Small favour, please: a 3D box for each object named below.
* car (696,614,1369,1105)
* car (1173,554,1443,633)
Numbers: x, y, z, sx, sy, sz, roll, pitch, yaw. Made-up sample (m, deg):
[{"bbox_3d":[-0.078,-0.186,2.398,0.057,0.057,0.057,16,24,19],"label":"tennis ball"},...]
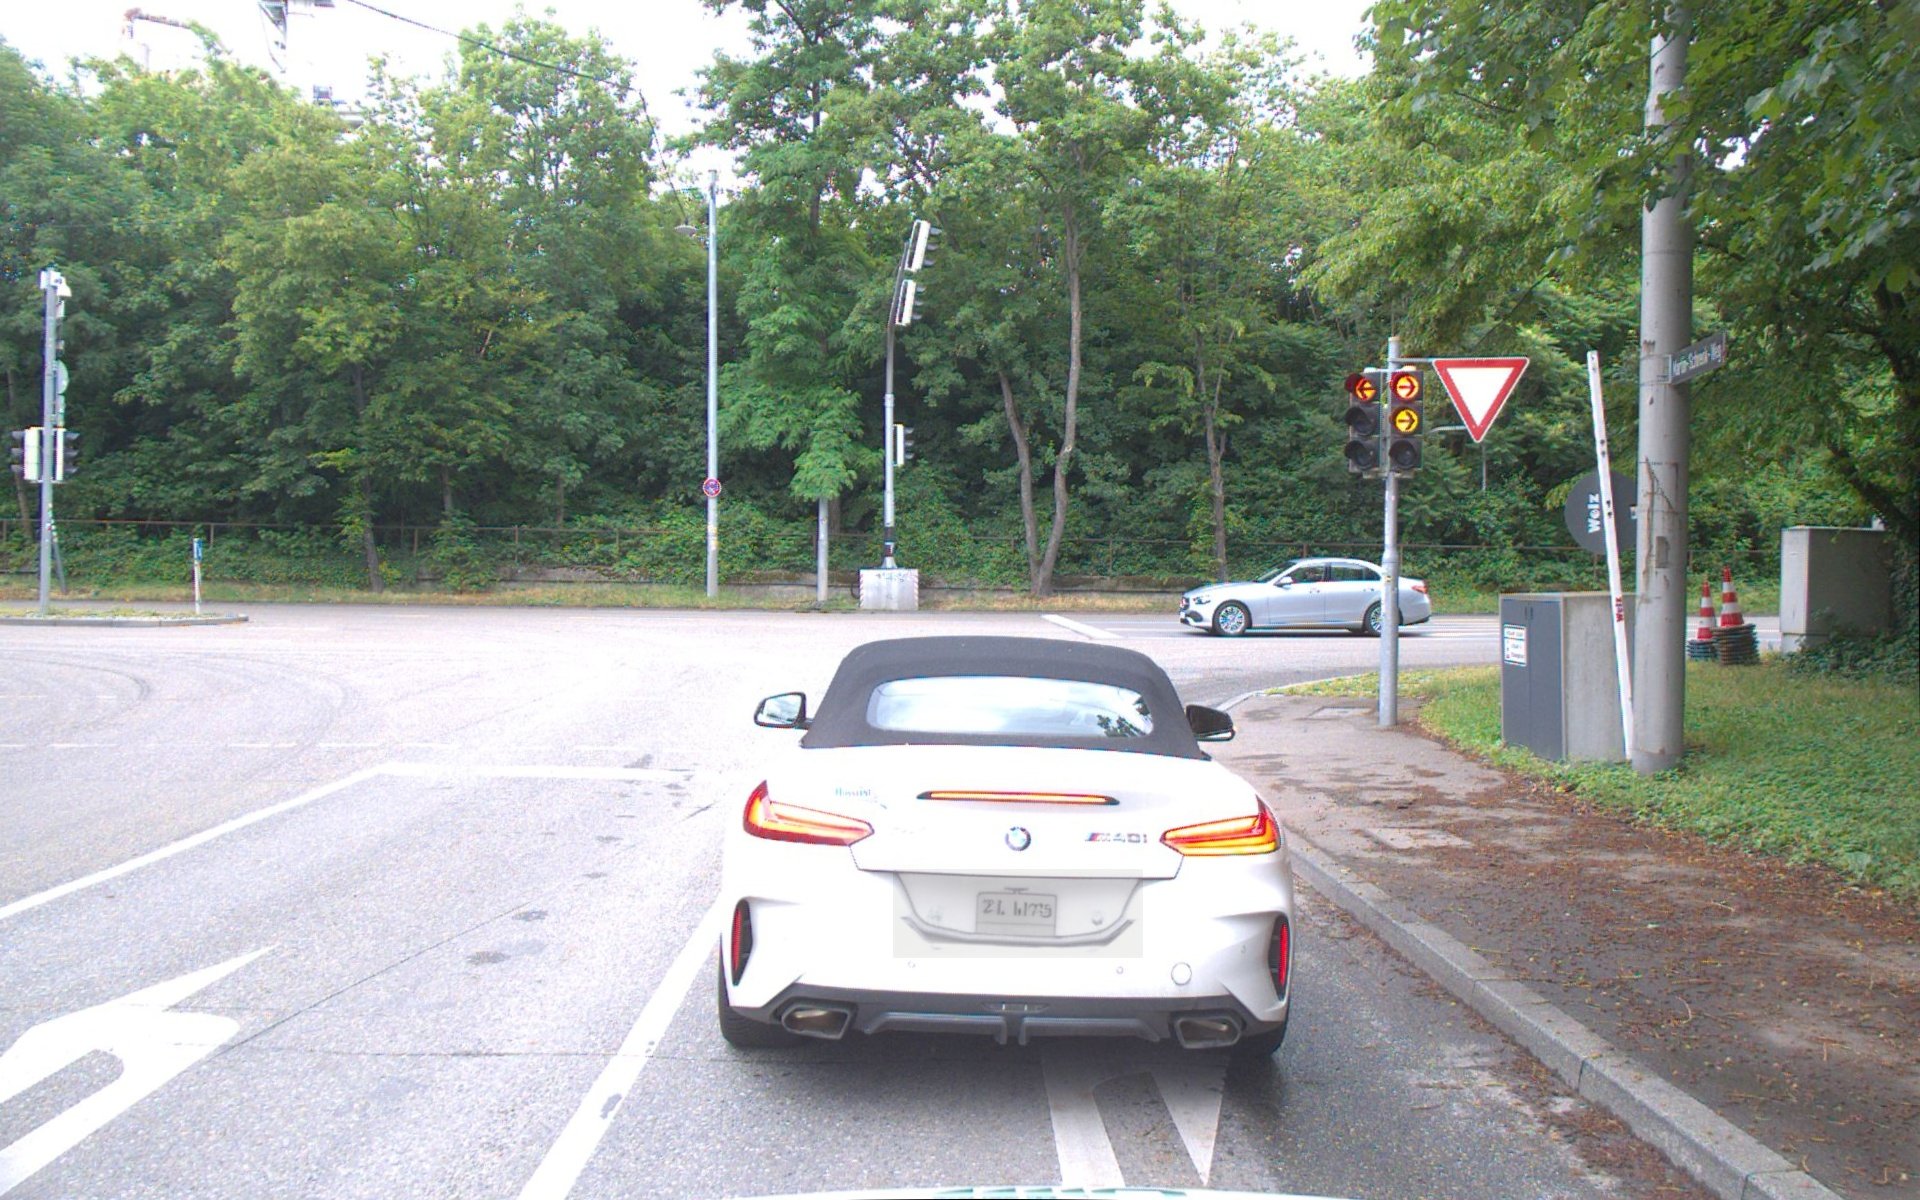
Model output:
[{"bbox_3d":[0.112,0.746,6.457,1.791,1.279,3.997,2,-1,-3],"label":"car"},{"bbox_3d":[6.480,-0.140,31.113,4.656,1.356,1.833,1,3,-3],"label":"car"}]
